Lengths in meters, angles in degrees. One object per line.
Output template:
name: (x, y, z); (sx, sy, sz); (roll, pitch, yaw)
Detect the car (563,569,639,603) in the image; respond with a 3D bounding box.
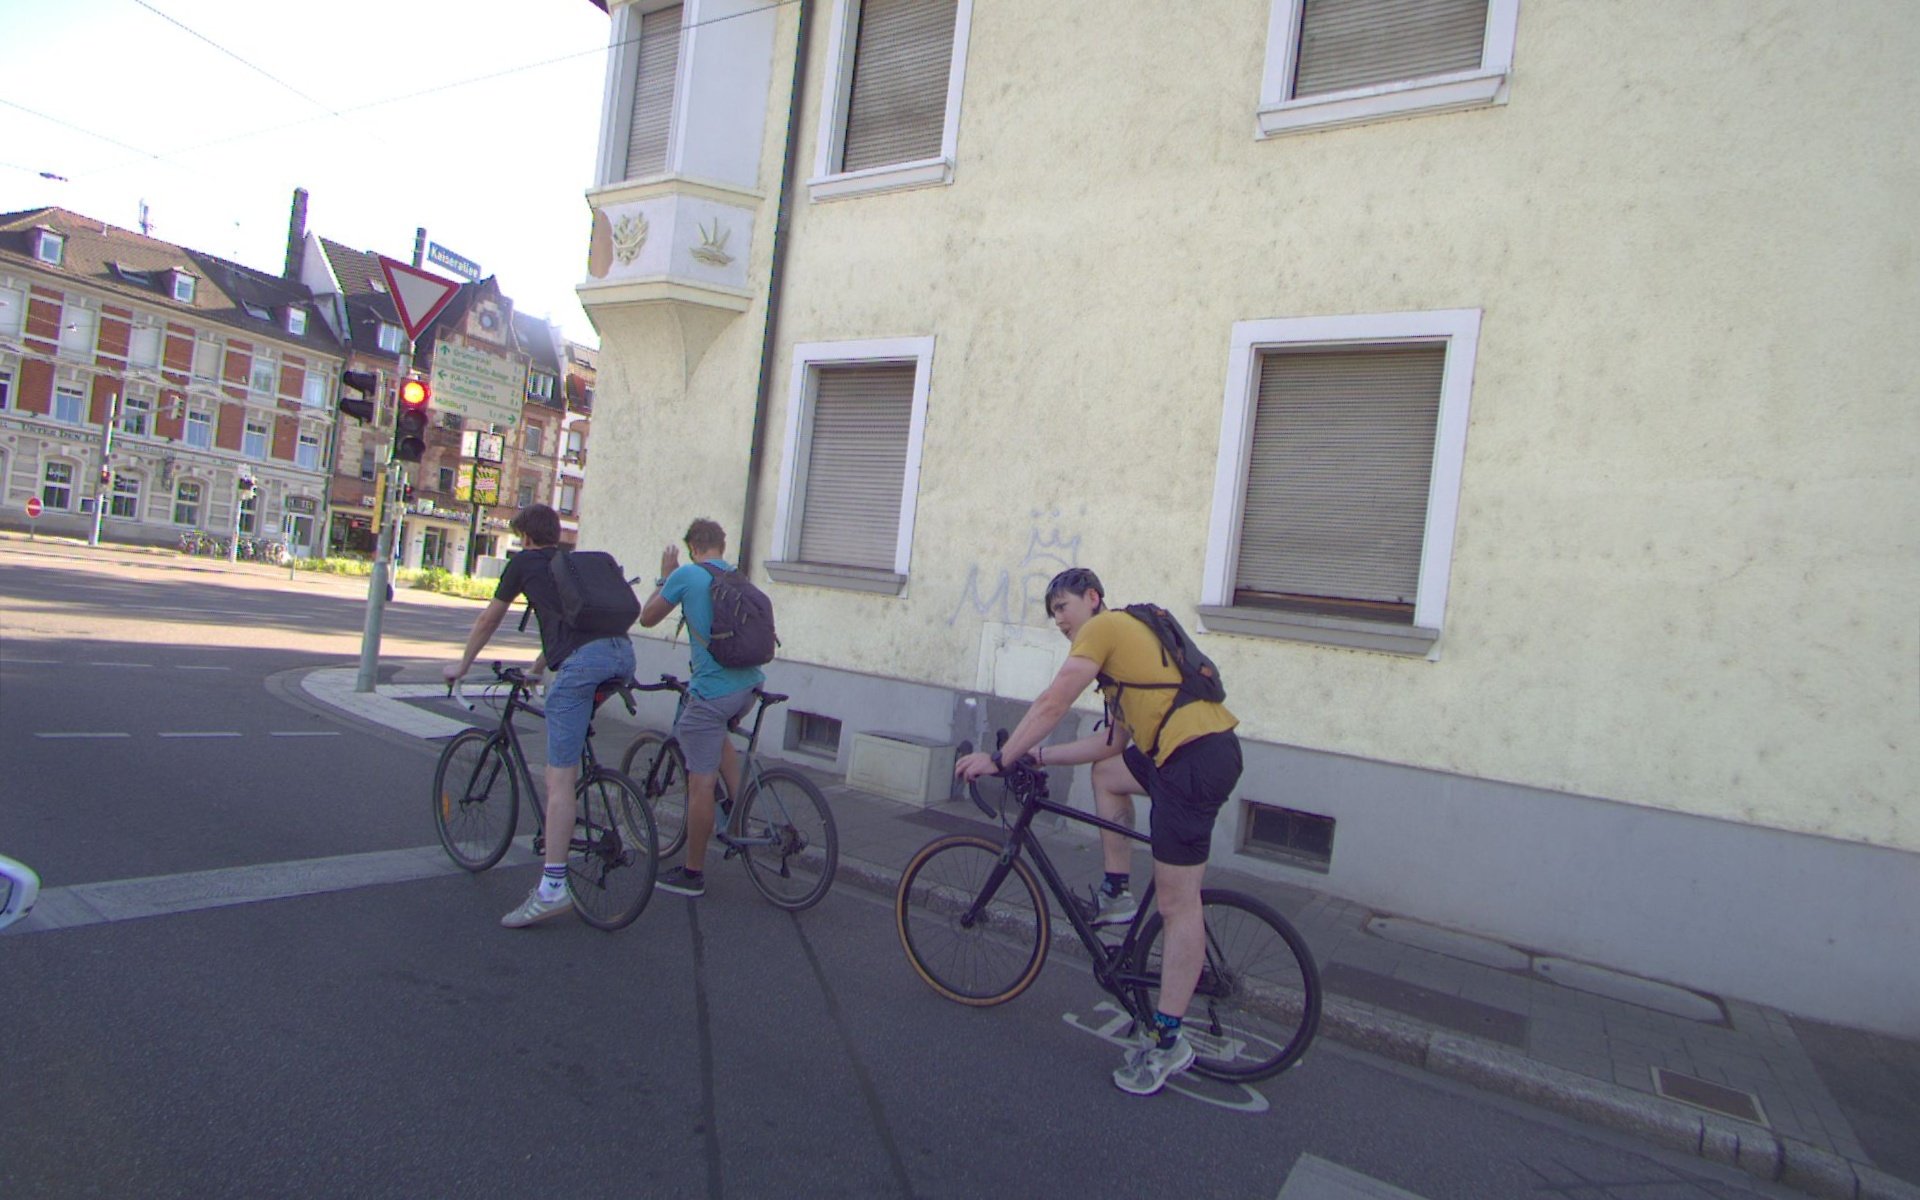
car: (-23.266, -0.899, 65.288); (1.966, 1.641, 4.261); (7, -1, 29)

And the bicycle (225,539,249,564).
bicycle: (-33.916, -2.261, 47.187); (1.759, 1.033, 0.485); (7, 0, 42)

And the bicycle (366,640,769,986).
bicycle: (-1.793, 0.835, 4.467); (1.858, 1.071, 0.571); (7, 0, 32)

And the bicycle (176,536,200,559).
bicycle: (-35.060, -2.395, 45.666); (1.759, 0.925, 0.485); (7, 0, 42)

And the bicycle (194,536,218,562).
bicycle: (-34.633, -2.341, 46.202); (1.759, 1.033, 0.485); (7, 0, 42)

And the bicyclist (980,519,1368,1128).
bicyclist: (0.778, 0.696, 3.656); (1.019, 1.839, 0.652); (7, 0, 32)

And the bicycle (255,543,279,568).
bicycle: (-33.162, -2.124, 48.110); (1.759, 1.033, 0.485); (7, 0, 42)

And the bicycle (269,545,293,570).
bicycle: (-32.887, -2.064, 48.714); (1.759, 1.033, 0.485); (7, 0, 42)

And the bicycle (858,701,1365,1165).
bicycle: (0.519, 1.090, 3.772); (1.670, 1.180, 0.571); (7, 0, 32)

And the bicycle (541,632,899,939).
bicycle: (-1.303, 0.877, 5.280); (1.858, 1.180, 0.571); (7, 0, 32)

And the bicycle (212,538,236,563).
bicycle: (-34.202, -2.295, 46.724); (1.759, 1.033, 0.485); (7, 0, 42)

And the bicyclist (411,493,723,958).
bicyclist: (-1.744, 0.492, 4.469); (0.978, 1.788, 0.652); (7, 0, 32)

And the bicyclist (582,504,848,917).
bicyclist: (-1.280, 0.524, 5.270); (0.978, 1.910, 0.652); (7, 0, 32)

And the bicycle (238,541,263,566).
bicycle: (-33.590, -2.201, 47.615); (1.759, 1.033, 0.485); (7, 0, 42)
